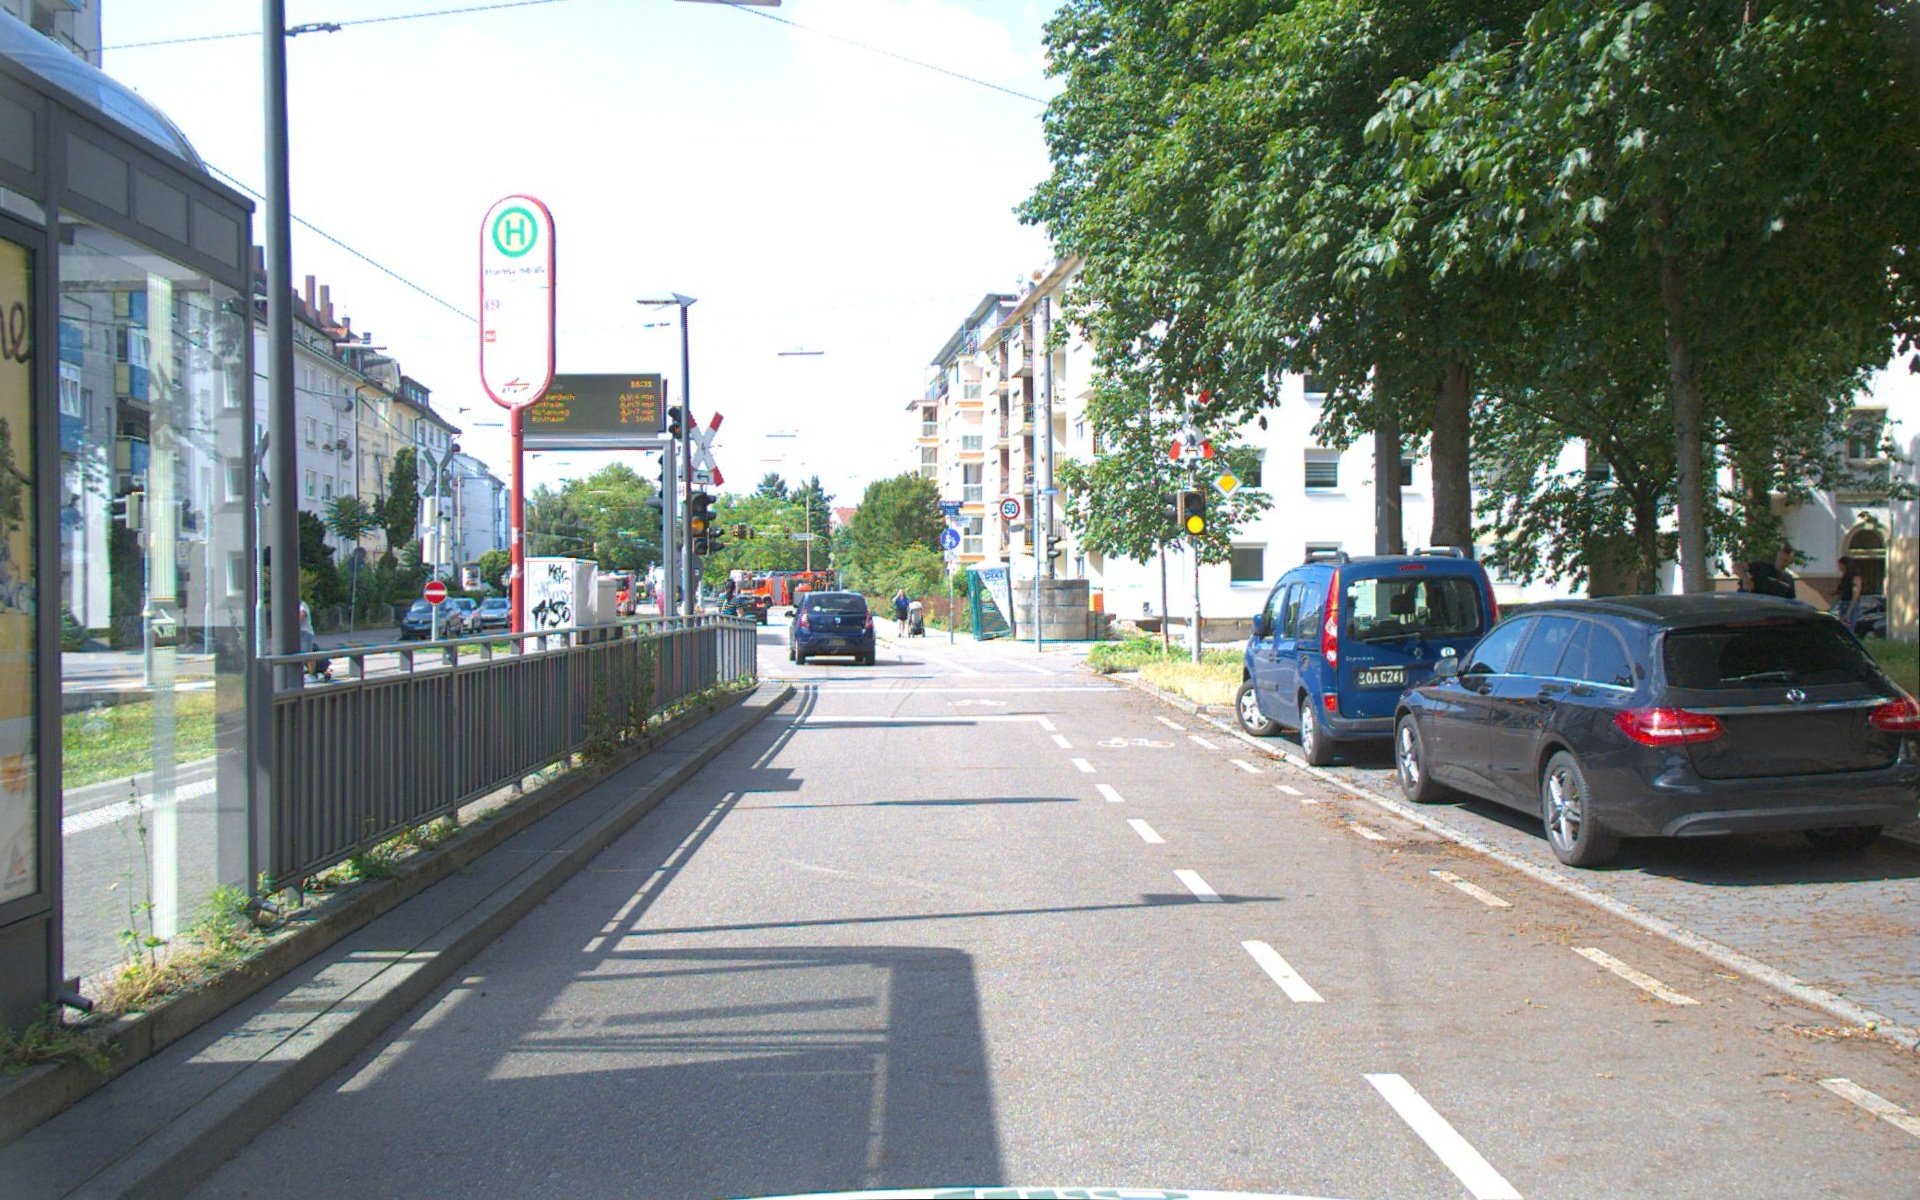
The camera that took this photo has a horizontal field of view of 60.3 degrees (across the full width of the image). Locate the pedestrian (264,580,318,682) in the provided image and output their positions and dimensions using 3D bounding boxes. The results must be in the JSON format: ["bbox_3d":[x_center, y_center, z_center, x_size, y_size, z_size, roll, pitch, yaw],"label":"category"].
[{"bbox_3d":[-11.270,0.521,27.893,0.647,1.693,0.632,-1,0,-3],"label":"pedestrian"}]

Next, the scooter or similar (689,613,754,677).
[{"bbox_3d":[-4.123,0.772,28.612,1.079,1.074,0.649,1,-1,-7],"label":"scooter or similar"}]

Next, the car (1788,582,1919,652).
[{"bbox_3d":[20.540,0.343,37.084,1.705,1.485,3.996,-1,0,-5],"label":"car"}]

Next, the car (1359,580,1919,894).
[{"bbox_3d":[4.246,0.660,10.739,1.879,1.467,4.794,-3,1,-3],"label":"car"}]

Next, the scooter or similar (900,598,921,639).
[{"bbox_3d":[-1.688,0.630,56.669,0.649,1.326,0.868,-4,1,-1],"label":"scooter or similar"}]

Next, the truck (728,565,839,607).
[{"bbox_3d":[-15.691,-1.217,147.551,10.069,3.531,2.637,1,-1,-40],"label":"truck"}]

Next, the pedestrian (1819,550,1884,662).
[{"bbox_3d":[13.196,0.089,24.494,0.619,1.624,0.539,-1,-1,-5],"label":"pedestrian"}]

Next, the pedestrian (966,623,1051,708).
[{"bbox_3d":[1.209,1.640,42.840,1.953,2.049,3.999,1,0,-1],"label":"pedestrian"}]

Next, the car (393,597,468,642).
[{"bbox_3d":[-20.714,0.742,64.856,1.955,1.674,3.995,1,0,-6],"label":"car"}]

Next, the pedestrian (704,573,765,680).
[{"bbox_3d":[-3.669,0.416,26.884,0.832,1.697,0.795,-1,-1,-18],"label":"pedestrian"}]

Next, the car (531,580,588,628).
[{"bbox_3d":[-20.048,0.208,82.928,1.954,2.315,4.829,1,0,-4],"label":"car"}]

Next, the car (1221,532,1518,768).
[{"bbox_3d":[3.798,0.390,16.082,1.785,1.929,4.183,-2,1,0],"label":"car"}]

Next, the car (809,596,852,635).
[{"bbox_3d":[-5.180,0.622,65.721,1.591,1.490,3.506,1,0,-6],"label":"car"}]

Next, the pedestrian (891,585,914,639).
[{"bbox_3d":[-1.998,0.409,57.541,0.687,1.820,1.029,-3,0,-3],"label":"pedestrian"}]

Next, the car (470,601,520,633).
[{"bbox_3d":[-22.663,0.815,80.726,1.735,1.467,3.993,1,0,-7],"label":"car"}]

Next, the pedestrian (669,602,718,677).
[{"bbox_3d":[-4.424,0.647,27.415,0.628,1.201,0.793,-1,-1,-23],"label":"pedestrian"}]

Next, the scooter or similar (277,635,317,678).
[{"bbox_3d":[-11.407,0.971,28.467,0.433,0.711,0.700,-1,0,-3],"label":"scooter or similar"}]

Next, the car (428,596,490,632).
[{"bbox_3d":[-21.413,0.596,70.833,1.734,1.467,3.995,1,0,-6],"label":"car"}]

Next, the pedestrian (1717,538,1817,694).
[{"bbox_3d":[9.165,0.176,18.809,0.729,1.726,0.767,-1,0,-1],"label":"pedestrian"}]

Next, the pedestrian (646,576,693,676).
[{"bbox_3d":[-5.002,0.448,28.506,0.692,1.677,0.636,1,-1,-6],"label":"pedestrian"}]

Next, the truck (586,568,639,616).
[{"bbox_3d":[-24.933,-0.560,118.997,2.545,3.241,8.374,-1,0,-4],"label":"truck"}]

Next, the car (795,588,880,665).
[{"bbox_3d":[-2.658,0.556,35.722,1.710,1.533,3.996,1,0,-5],"label":"car"}]
